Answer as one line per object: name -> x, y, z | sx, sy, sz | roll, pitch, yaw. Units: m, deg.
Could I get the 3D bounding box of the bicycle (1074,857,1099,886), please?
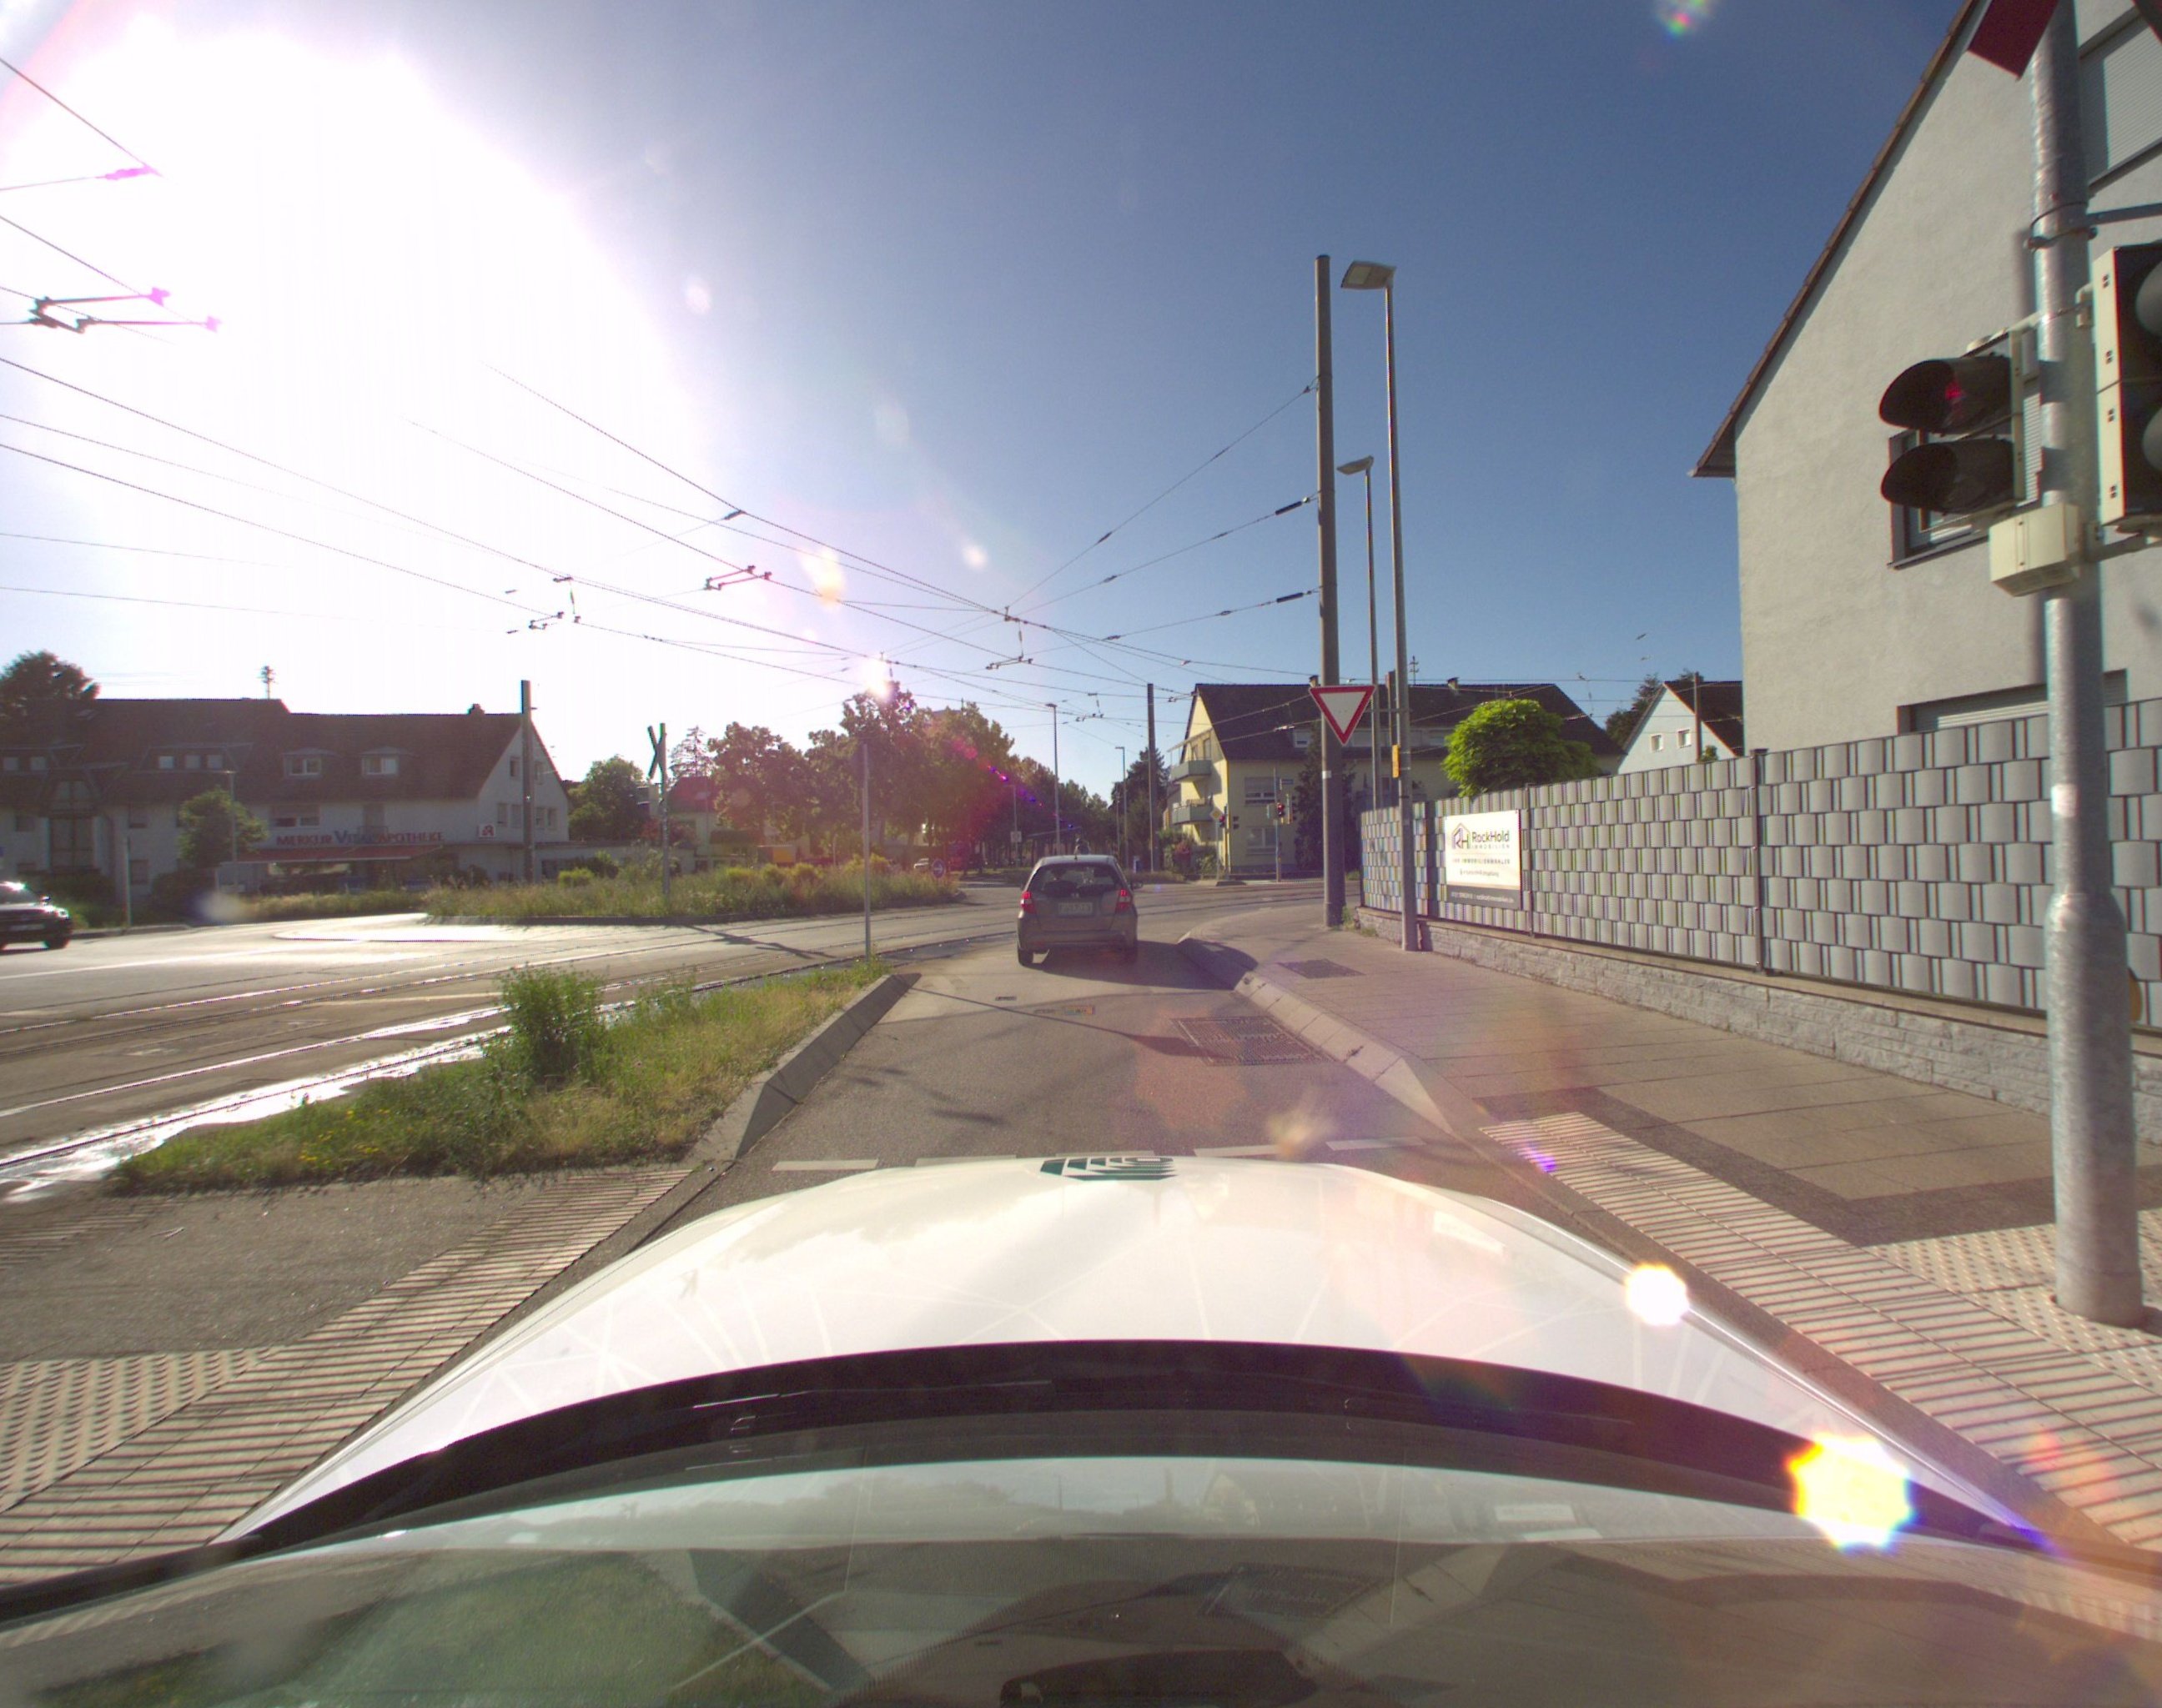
bicycle -> 0.180, 0.633, 30.181 | 0.765, 1.037, 1.531 | -1, 0, -6

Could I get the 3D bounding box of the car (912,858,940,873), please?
car -> -18.592, 1.375, 97.770 | 1.984, 1.773, 5.066 | 0, 0, 4

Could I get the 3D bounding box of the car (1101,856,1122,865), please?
car -> 5.370, 1.118, 143.685 | 3.505, 1.533, 1.577 | 0, 0, 0

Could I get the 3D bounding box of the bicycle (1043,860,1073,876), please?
bicycle -> -1.556, 0.936, 55.001 | 1.968, 1.027, 0.695 | 0, 0, -3

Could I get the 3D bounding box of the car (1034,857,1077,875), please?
car -> -2.117, 1.005, 68.381 | 3.504, 1.533, 1.578 | 0, 0, 1

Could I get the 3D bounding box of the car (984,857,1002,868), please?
car -> -12.622, 1.218, 117.129 | 1.822, 1.580, 4.446 | 0, 0, 5

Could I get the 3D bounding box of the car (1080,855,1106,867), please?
car -> 1.602, 0.915, 108.920 | 3.348, 1.533, 1.523 | 0, 0, 0

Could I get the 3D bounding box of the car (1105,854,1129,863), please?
car -> 5.429, 0.701, 123.109 | 3.505, 1.279, 1.577 | 0, 0, 0

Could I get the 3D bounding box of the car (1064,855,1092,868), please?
car -> -0.359, 0.987, 103.109 | 3.396, 1.533, 1.527 | -2, 0, 4

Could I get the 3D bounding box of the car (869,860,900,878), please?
car -> -19.544, 1.478, 81.219 | 1.987, 1.699, 4.218 | 0, 0, 0

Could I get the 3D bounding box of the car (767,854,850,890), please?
car -> -16.545, 1.059, 49.786 | 1.978, 1.981, 5.261 | -3, -1, 17

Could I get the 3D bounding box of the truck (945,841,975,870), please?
truck -> -17.085, 0.217, 115.454 | 3.059, 3.993, 8.008 | 0, 0, 0

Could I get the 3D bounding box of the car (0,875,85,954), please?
car -> -25.631, 1.485, 18.847 | 4.208, 1.670, 1.827 | -4, 1, 19

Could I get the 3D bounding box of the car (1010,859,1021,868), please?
car -> -11.943, 1.751, 148.896 | 1.642, 1.648, 3.568 | 0, 0, 0

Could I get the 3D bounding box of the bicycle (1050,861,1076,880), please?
bicycle -> -1.132, 1.042, 51.319 | 1.662, 1.208, 0.688 | 0, 0, -3

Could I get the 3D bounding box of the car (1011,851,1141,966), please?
car -> -0.043, 0.713, 12.664 | 1.682, 1.491, 3.914 | -1, 0, 0

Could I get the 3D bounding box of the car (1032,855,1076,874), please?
car -> -2.153, 0.861, 66.608 | 3.504, 1.533, 1.578 | 0, 0, 1

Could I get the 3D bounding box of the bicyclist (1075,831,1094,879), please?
bicyclist -> 0.142, 0.043, 30.162 | 0.602, 1.714, 0.543 | -2, -4, -4

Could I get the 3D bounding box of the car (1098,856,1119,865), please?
car -> 4.502, 1.078, 133.051 | 3.505, 1.533, 1.577 | 0, 0, 0

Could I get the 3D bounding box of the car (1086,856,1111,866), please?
car -> 2.398, 0.977, 113.667 | 3.467, 1.493, 1.552 | 0, 0, 0
